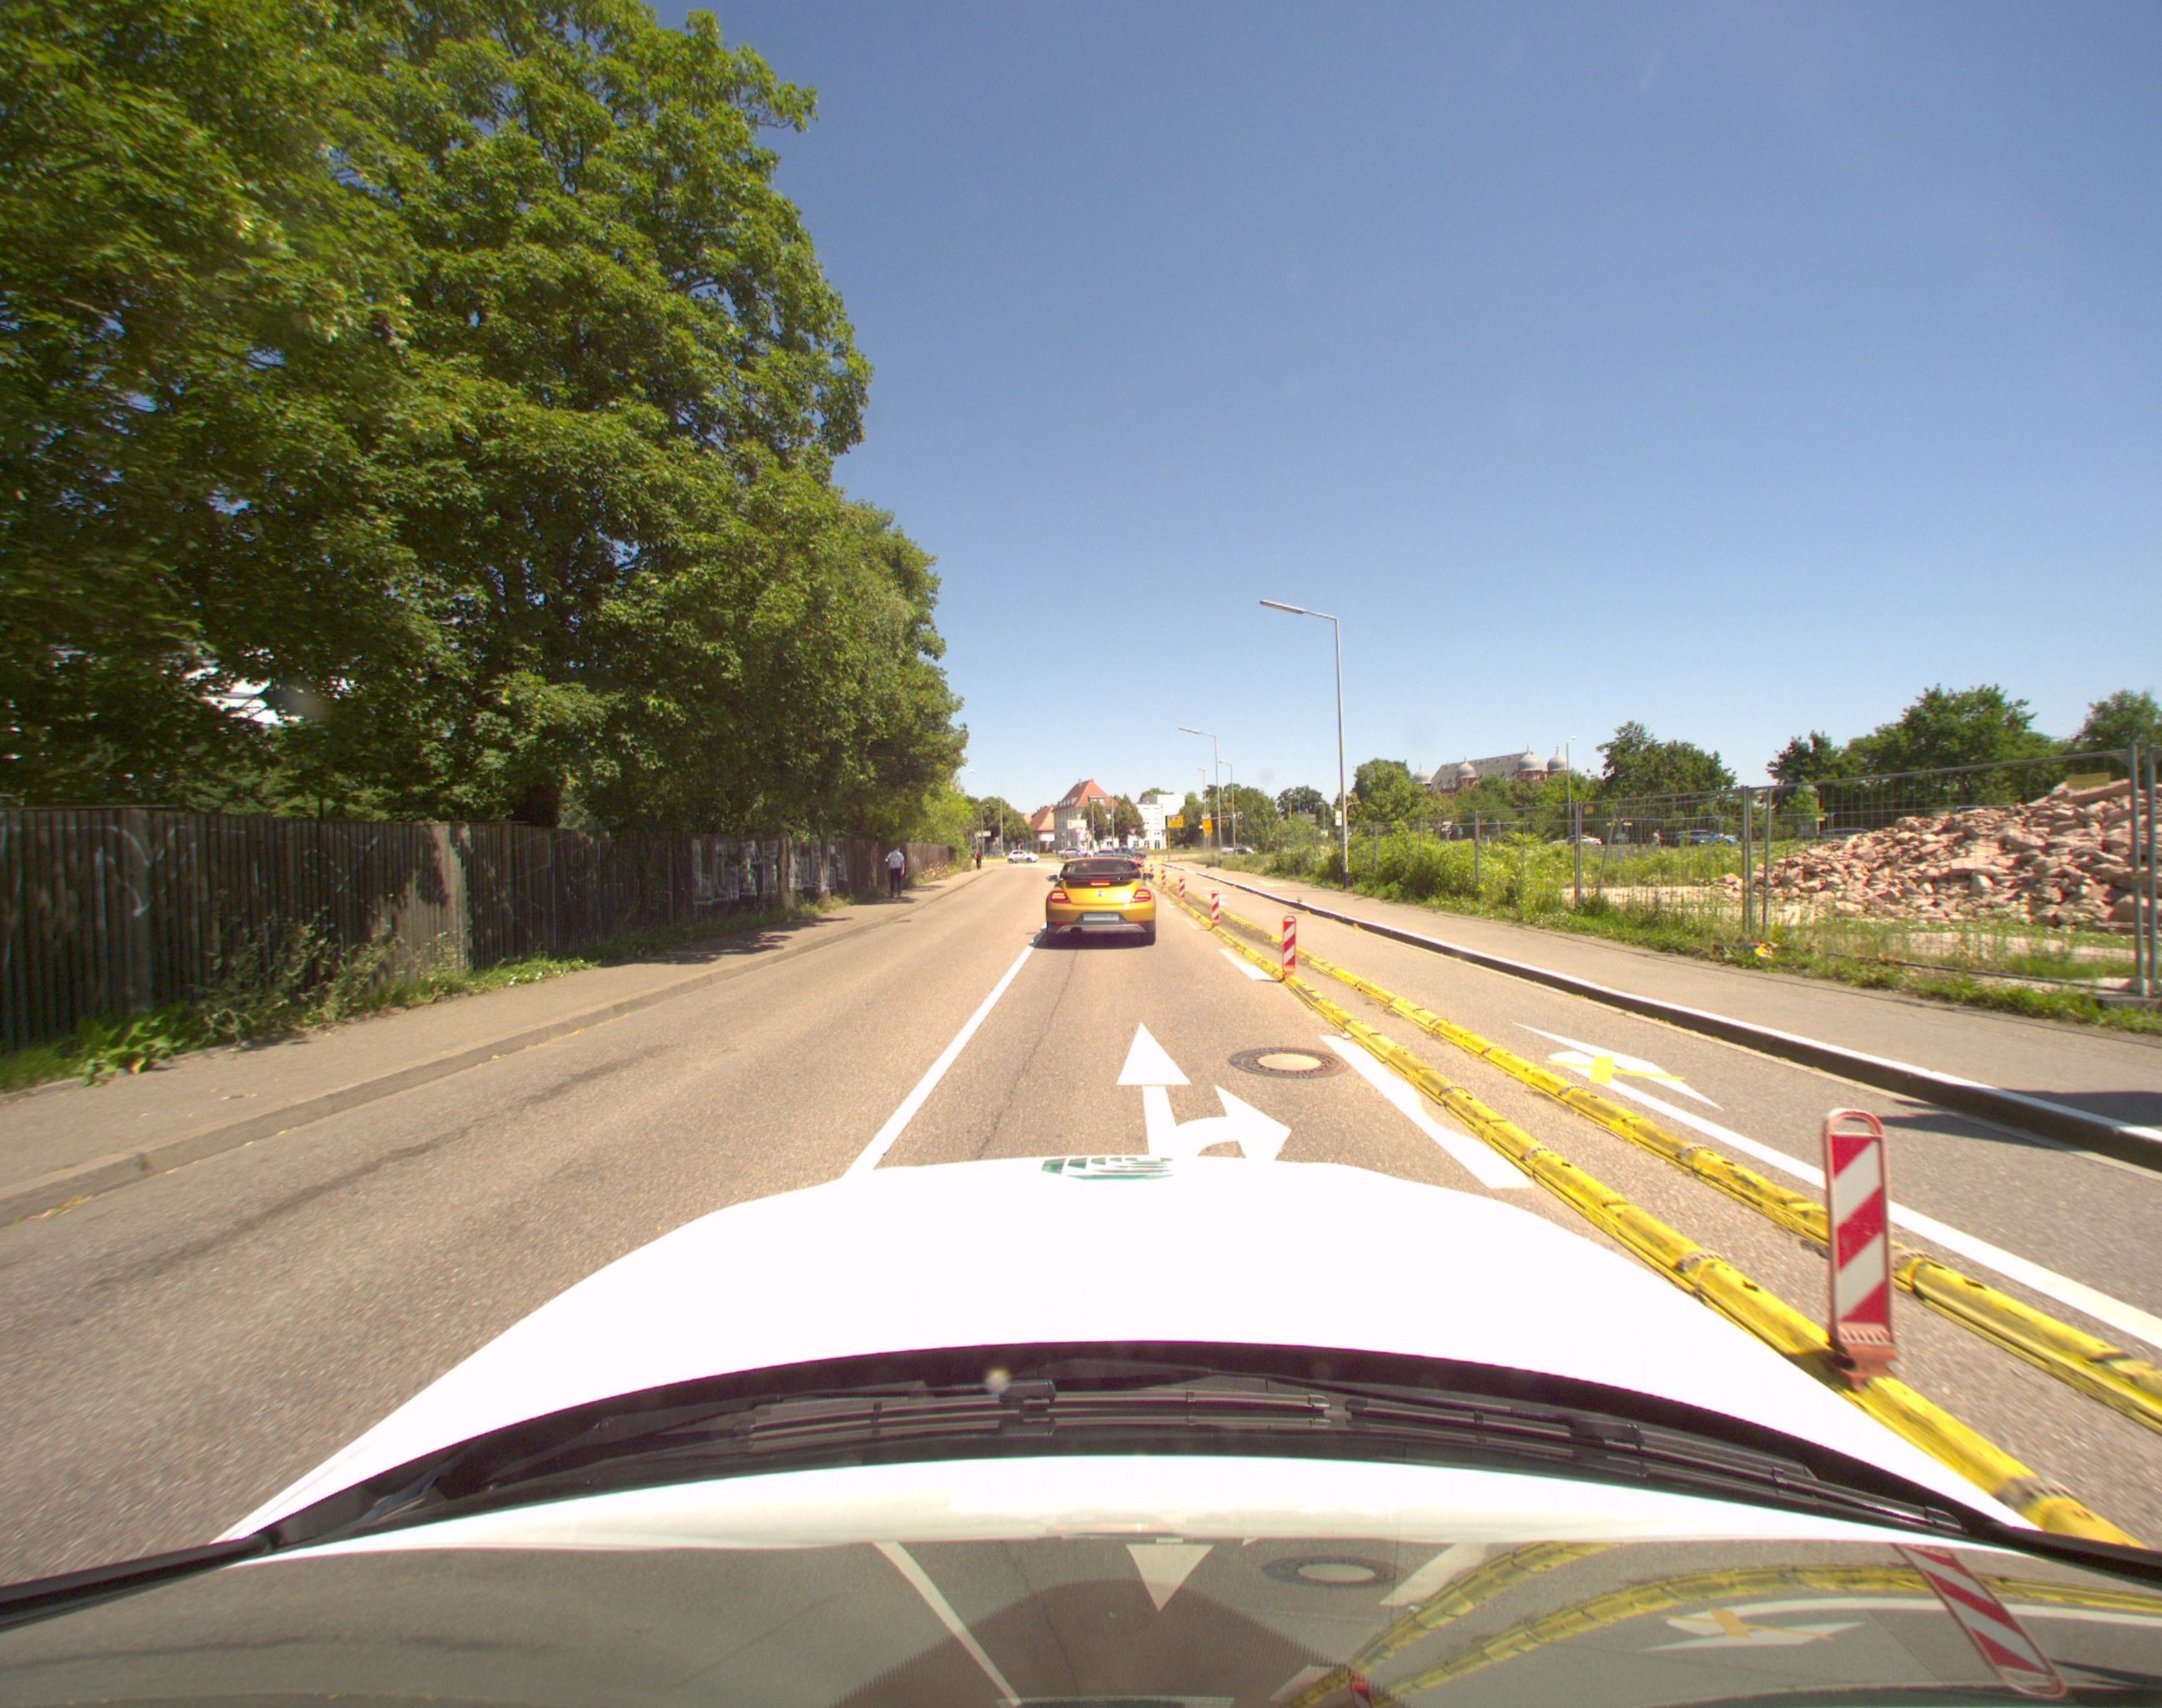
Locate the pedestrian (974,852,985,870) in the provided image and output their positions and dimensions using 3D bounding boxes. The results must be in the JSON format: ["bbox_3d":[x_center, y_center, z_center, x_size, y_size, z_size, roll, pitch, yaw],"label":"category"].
[{"bbox_3d":[-8.210,0.568,65.888,0.721,1.454,0.817,-3,1,-3],"label":"pedestrian"}]

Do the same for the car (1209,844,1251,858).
[{"bbox_3d":[16.263,-0.343,89.222,4.414,1.357,1.541,-3,1,9],"label":"car"}]

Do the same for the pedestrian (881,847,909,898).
[{"bbox_3d":[-6.444,0.632,28.180,0.721,1.725,0.817,-3,1,-3],"label":"pedestrian"}]

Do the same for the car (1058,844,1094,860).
[{"bbox_3d":[-0.575,-0.262,99.864,4.048,1.743,1.571,-3,1,9],"label":"car"}]

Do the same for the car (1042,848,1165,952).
[{"bbox_3d":[0.345,0.679,14.146,1.784,1.436,3.813,-3,1,0],"label":"car"}]

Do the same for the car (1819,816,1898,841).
[{"bbox_3d":[56.931,-1.864,59.675,1.853,1.618,4.010,-4,1,-43],"label":"car"}]

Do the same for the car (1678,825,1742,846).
[{"bbox_3d":[53.124,-1.530,68.831,1.895,1.585,3.951,-3,1,-43],"label":"car"}]

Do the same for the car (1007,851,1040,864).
[{"bbox_3d":[-6.571,0.356,93.009,3.416,1.275,1.206,-3,1,10],"label":"car"}]

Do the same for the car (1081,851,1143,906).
[{"bbox_3d":[0.963,0.704,25.572,1.720,1.443,4.002,-3,1,2],"label":"car"}]
